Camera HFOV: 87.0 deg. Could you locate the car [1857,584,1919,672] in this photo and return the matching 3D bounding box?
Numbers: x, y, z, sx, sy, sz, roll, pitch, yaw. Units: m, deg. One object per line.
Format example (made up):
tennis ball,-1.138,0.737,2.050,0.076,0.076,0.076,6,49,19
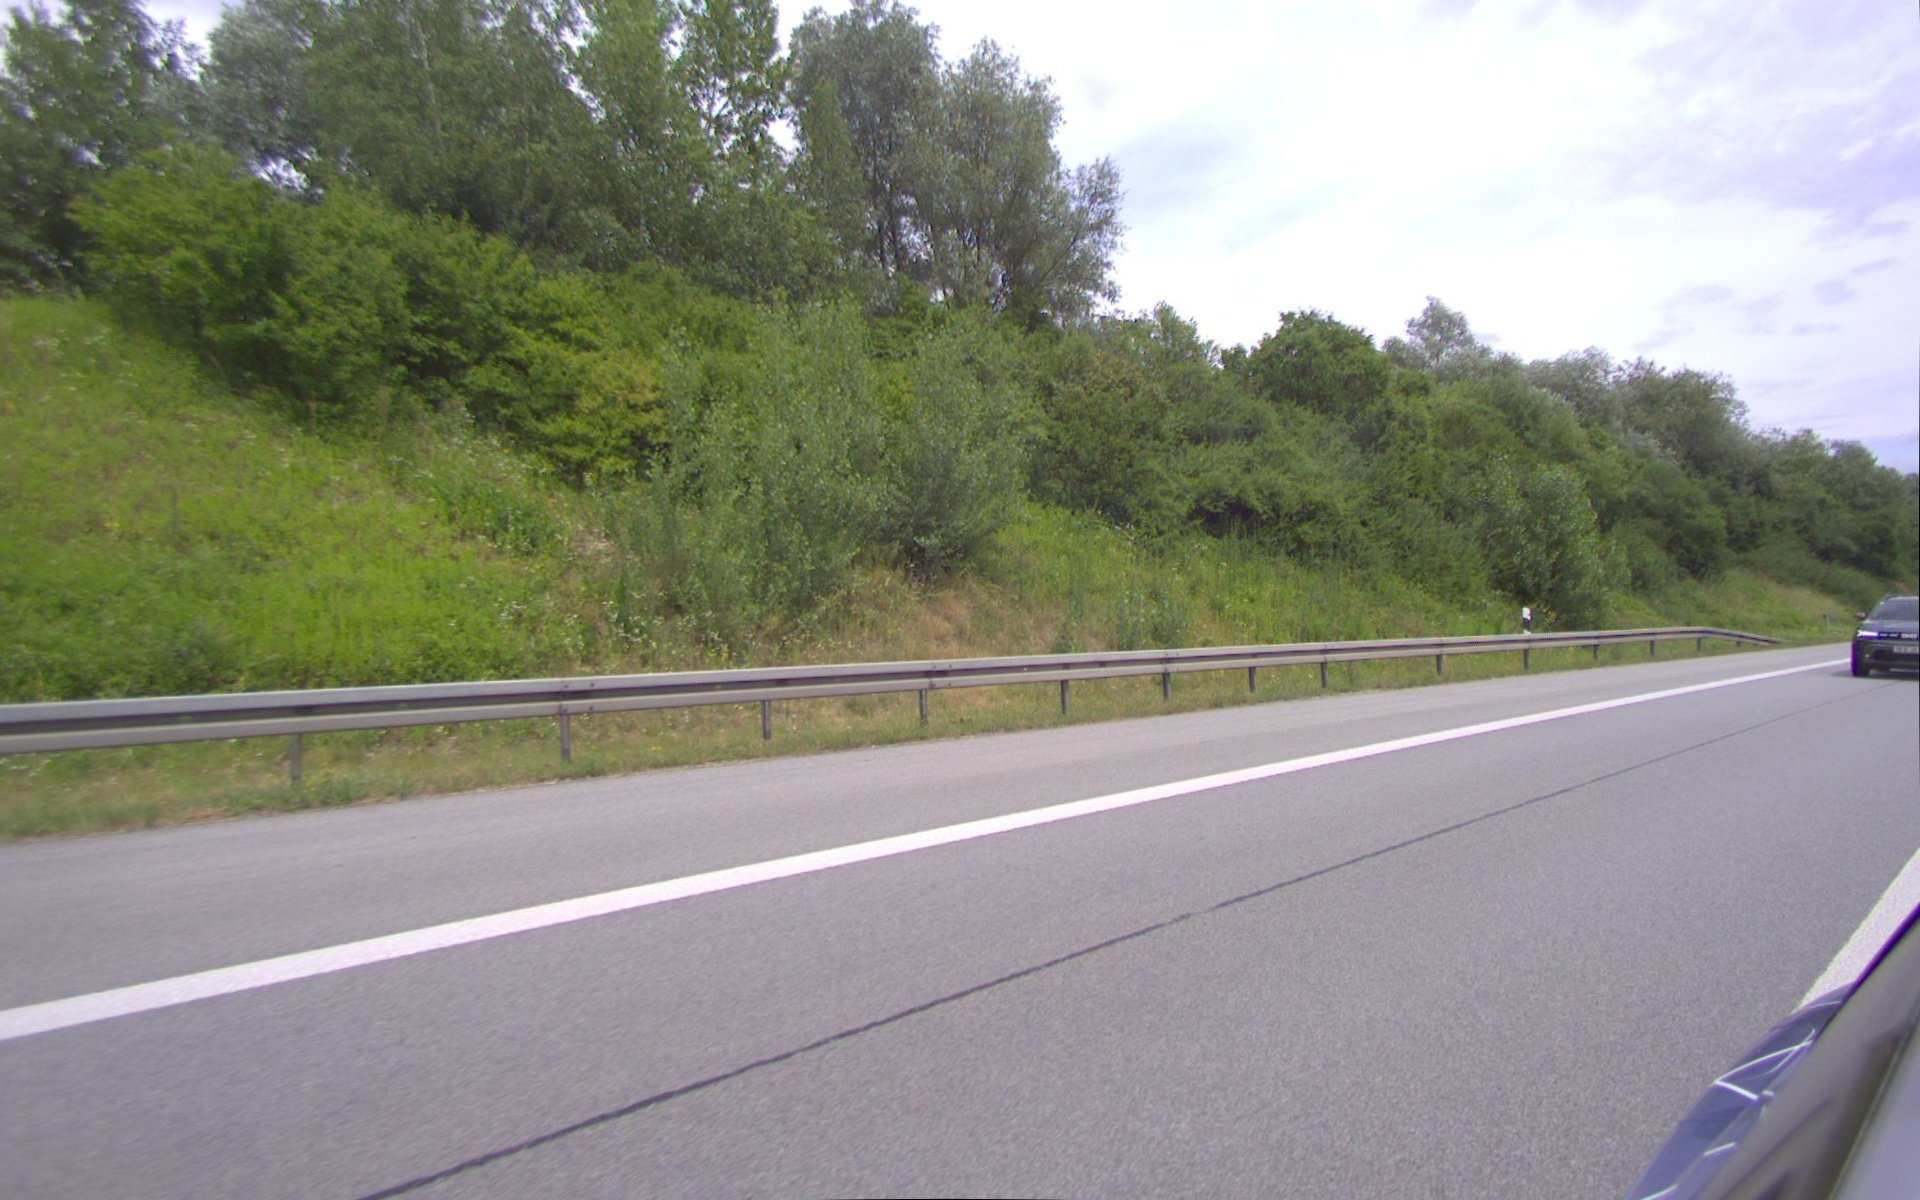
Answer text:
car,19.402,0.517,20.068,3.929,1.638,1.888,0,1,-40
